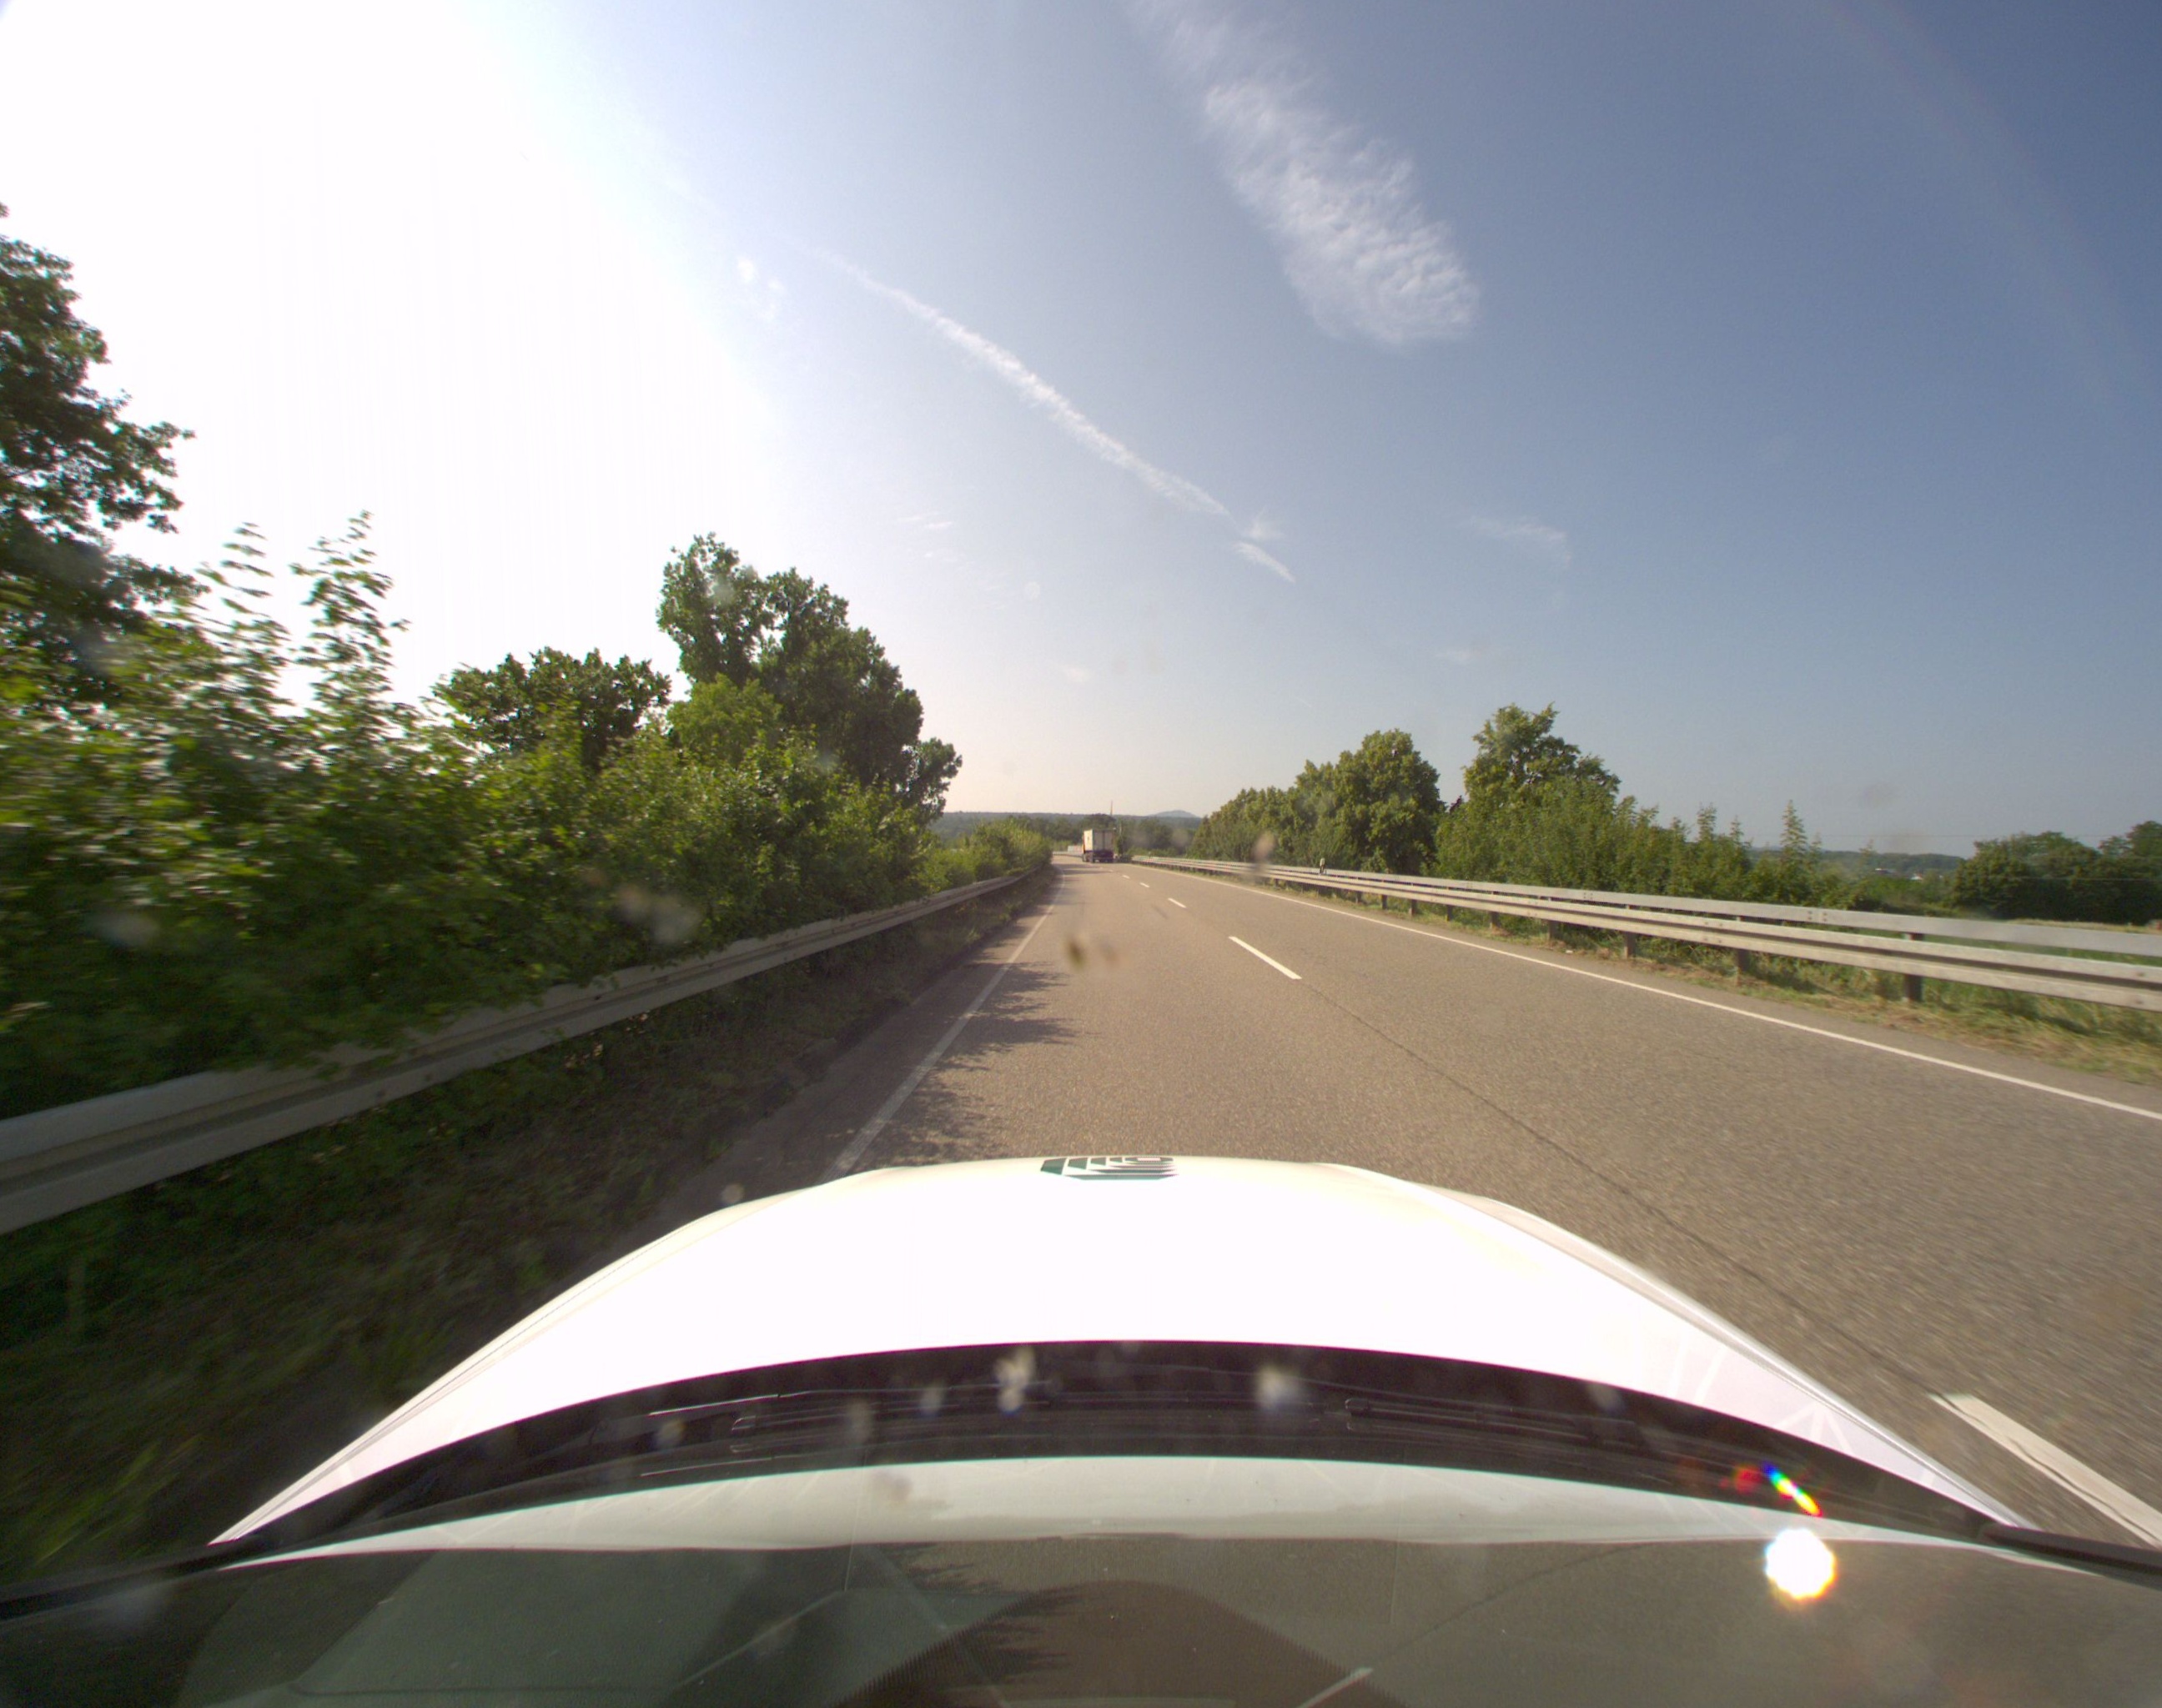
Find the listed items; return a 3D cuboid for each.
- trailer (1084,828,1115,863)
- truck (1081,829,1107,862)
[{"bbox_3d":[2.069,-1.024,95.419,2.675,3.907,9.656,0,0,-5],"label":"trailer"},{"bbox_3d":[1.574,-1.069,101.353,2.654,3.896,5.639,0,1,-4],"label":"truck"}]
